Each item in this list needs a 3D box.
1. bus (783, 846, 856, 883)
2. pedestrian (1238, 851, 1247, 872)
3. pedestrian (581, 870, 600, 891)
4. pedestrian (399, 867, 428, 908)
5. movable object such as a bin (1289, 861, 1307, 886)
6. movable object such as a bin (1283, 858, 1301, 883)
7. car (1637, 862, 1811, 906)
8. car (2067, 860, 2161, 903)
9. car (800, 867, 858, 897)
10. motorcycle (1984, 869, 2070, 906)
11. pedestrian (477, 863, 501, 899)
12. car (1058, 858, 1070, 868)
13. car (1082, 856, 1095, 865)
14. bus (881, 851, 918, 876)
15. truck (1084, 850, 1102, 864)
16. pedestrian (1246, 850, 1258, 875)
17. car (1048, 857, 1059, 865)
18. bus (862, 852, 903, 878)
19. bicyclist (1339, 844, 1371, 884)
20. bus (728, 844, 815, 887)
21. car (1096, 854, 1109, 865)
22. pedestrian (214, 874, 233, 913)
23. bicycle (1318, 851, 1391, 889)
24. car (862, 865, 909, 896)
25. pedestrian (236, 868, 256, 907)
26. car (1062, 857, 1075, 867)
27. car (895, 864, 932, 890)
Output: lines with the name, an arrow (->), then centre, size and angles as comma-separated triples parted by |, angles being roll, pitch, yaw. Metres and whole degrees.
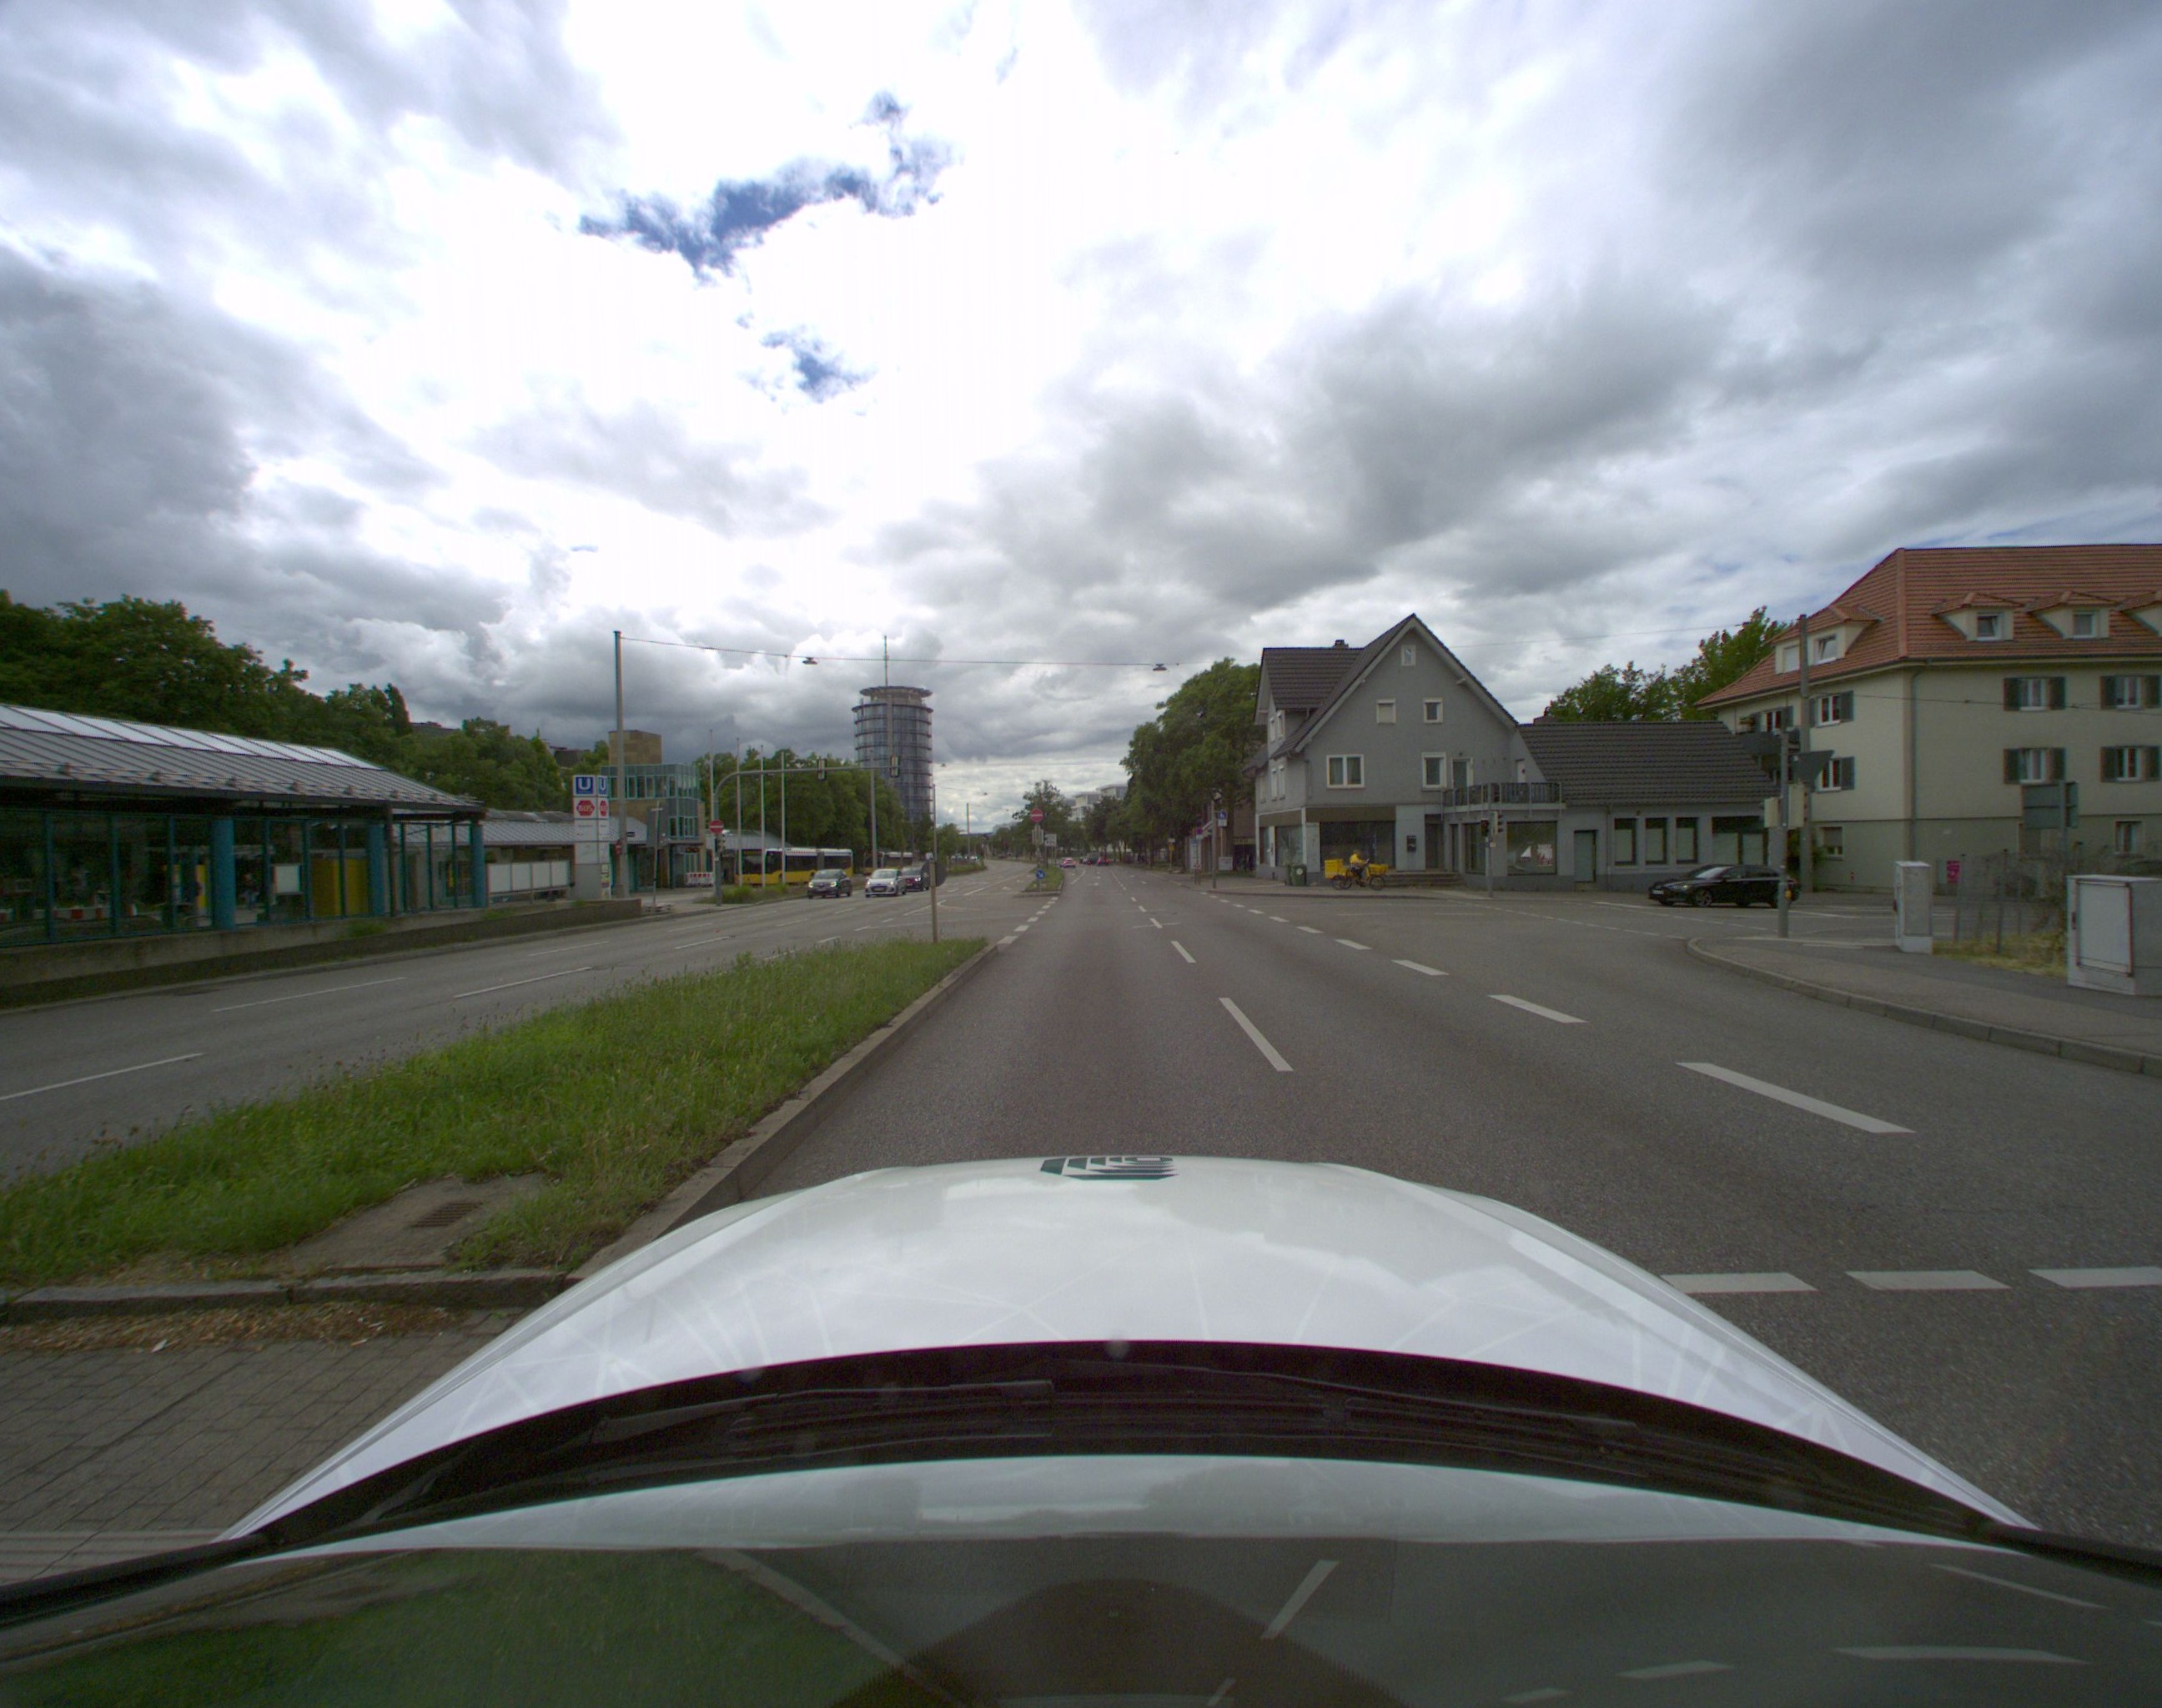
bus -> -23.714, 0.882, 74.510 | 2.795, 3.132, 9.314 | 1, 0, 6
pedestrian -> 12.438, 0.569, 62.793 | 0.559, 1.550, 0.544 | -3, -1, 1
pedestrian -> -27.673, 1.486, 45.972 | 0.617, 1.121, 0.658 | -1, -1, 2
pedestrian -> -27.360, 1.350, 33.408 | 0.617, 1.649, 0.658 | -1, -1, 2
movable object such as a bin -> 9.730, 0.879, 36.489 | 0.624, 1.104, 0.709 | -1, 0, 0
movable object such as a bin -> 9.681, 0.759, 37.341 | 0.606, 1.104, 0.709 | -1, 0, 0
car -> 21.367, 0.978, 27.180 | 4.328, 1.422, 1.907 | 0, -1, -1
car -> 39.687, 1.002, 30.126 | 4.064, 1.464, 2.000 | 0, 1, 0
car -> -13.734, 1.509, 44.612 | 1.808, 1.508, 4.001 | -2, -1, 2
motorcycle -> 34.766, 1.218, 29.961 | 2.296, 1.316, 0.686 | 0, 2, 1
pedestrian -> -27.789, 1.268, 38.239 | 0.617, 1.649, 0.658 | -1, -1, 2
car -> -2.902, 1.530, 138.256 | 1.989, 1.672, 3.995 | -2, -1, -3
car -> 1.493, 1.269, 157.793 | 1.991, 1.508, 3.991 | -2, 0, -6
bus -> -26.199, 1.327, 118.235 | 3.020, 3.455, 9.912 | 0, 0, 1
truck -> 2.240, 0.571, 150.422 | 2.853, 2.519, 6.280 | -2, -1, -3
pedestrian -> 12.806, 0.636, 61.021 | 0.655, 1.826, 0.843 | -3, -1, 1
car -> -5.632, 1.452, 166.223 | 1.986, 1.508, 4.001 | -2, -1, 2
bus -> -26.149, 1.395, 107.877 | 3.075, 3.163, 10.731 | 0, 0, -1
bicyclist -> 11.200, 0.399, 33.279 | 0.926, 1.599, 0.969 | 0, 0, 45
bus -> -24.531, 0.838, 65.183 | 2.763, 3.132, 9.449 | 0, 0, 4
car -> 3.546, 0.886, 134.118 | 1.988, 1.596, 3.998 | -1, 0, -1
pedestrian -> -34.305, 1.563, 32.580 | 0.488, 1.548, 0.379 | 0, -1, -45
bicycle -> 11.150, 0.639, 33.297 | 2.651, 1.508, 0.969 | 0, 0, 39
car -> -10.557, 1.409, 44.205 | 1.740, 1.465, 3.787 | -1, 1, -2
pedestrian -> -33.652, 1.347, 32.832 | 0.533, 1.548, 0.744 | 0, -1, -44
car -> -1.921, 1.214, 128.067 | 1.859, 1.449, 3.995 | -2, -1, -3
car -> -10.390, 1.401, 50.676 | 1.654, 1.508, 3.765 | -2, -1, -2
